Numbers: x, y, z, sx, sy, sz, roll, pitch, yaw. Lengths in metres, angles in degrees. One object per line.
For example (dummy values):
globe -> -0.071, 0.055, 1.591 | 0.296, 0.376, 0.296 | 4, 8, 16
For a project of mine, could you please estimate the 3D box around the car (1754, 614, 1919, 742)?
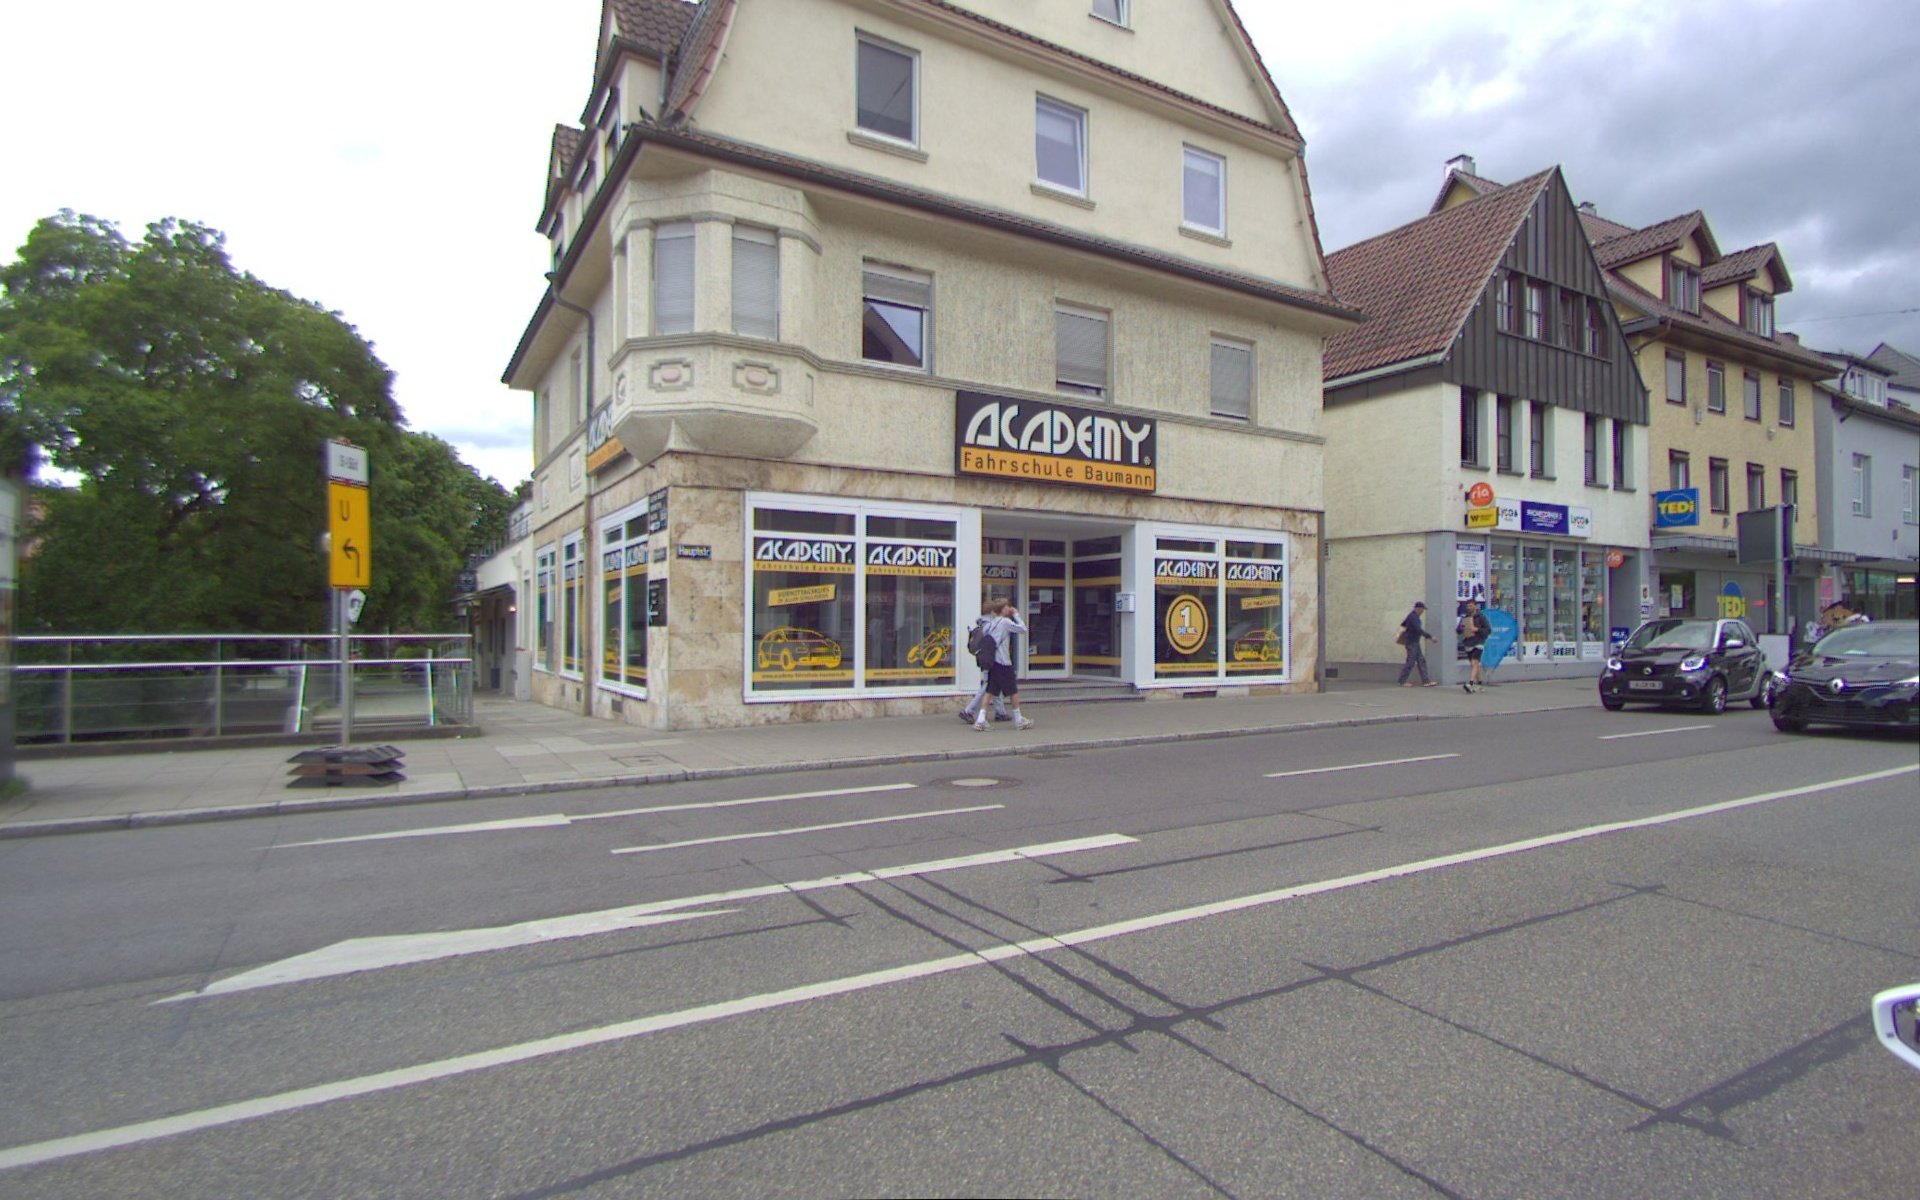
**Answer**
car -> 12.089, 0.916, 12.955 | 3.877, 1.447, 1.609 | 0, -2, -31

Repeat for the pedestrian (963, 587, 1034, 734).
pedestrian -> 0.497, 0.774, 13.058 | 0.673, 1.848, 0.630 | 0, -2, -31

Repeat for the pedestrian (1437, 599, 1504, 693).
pedestrian -> 10.024, 0.884, 19.718 | 0.798, 1.770, 0.861 | 0, 2, -35

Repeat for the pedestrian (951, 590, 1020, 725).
pedestrian -> 0.347, 0.757, 13.736 | 0.673, 1.785, 0.684 | 0, 0, -31

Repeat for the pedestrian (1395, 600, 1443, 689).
pedestrian -> 9.464, 0.892, 20.697 | 0.791, 1.770, 0.868 | 2, 2, 28

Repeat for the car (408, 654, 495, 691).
car -> -23.034, 3.267, 45.528 | 3.467, 1.543, 1.609 | 0, -2, -31

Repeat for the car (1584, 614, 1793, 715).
car -> 12.306, 1.030, 16.938 | 3.467, 1.543, 1.609 | 0, -2, -31

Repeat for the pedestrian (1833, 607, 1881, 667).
pedestrian -> 25.732, 1.039, 28.826 | 0.971, 1.656, 0.811 | 0, 1, -36
